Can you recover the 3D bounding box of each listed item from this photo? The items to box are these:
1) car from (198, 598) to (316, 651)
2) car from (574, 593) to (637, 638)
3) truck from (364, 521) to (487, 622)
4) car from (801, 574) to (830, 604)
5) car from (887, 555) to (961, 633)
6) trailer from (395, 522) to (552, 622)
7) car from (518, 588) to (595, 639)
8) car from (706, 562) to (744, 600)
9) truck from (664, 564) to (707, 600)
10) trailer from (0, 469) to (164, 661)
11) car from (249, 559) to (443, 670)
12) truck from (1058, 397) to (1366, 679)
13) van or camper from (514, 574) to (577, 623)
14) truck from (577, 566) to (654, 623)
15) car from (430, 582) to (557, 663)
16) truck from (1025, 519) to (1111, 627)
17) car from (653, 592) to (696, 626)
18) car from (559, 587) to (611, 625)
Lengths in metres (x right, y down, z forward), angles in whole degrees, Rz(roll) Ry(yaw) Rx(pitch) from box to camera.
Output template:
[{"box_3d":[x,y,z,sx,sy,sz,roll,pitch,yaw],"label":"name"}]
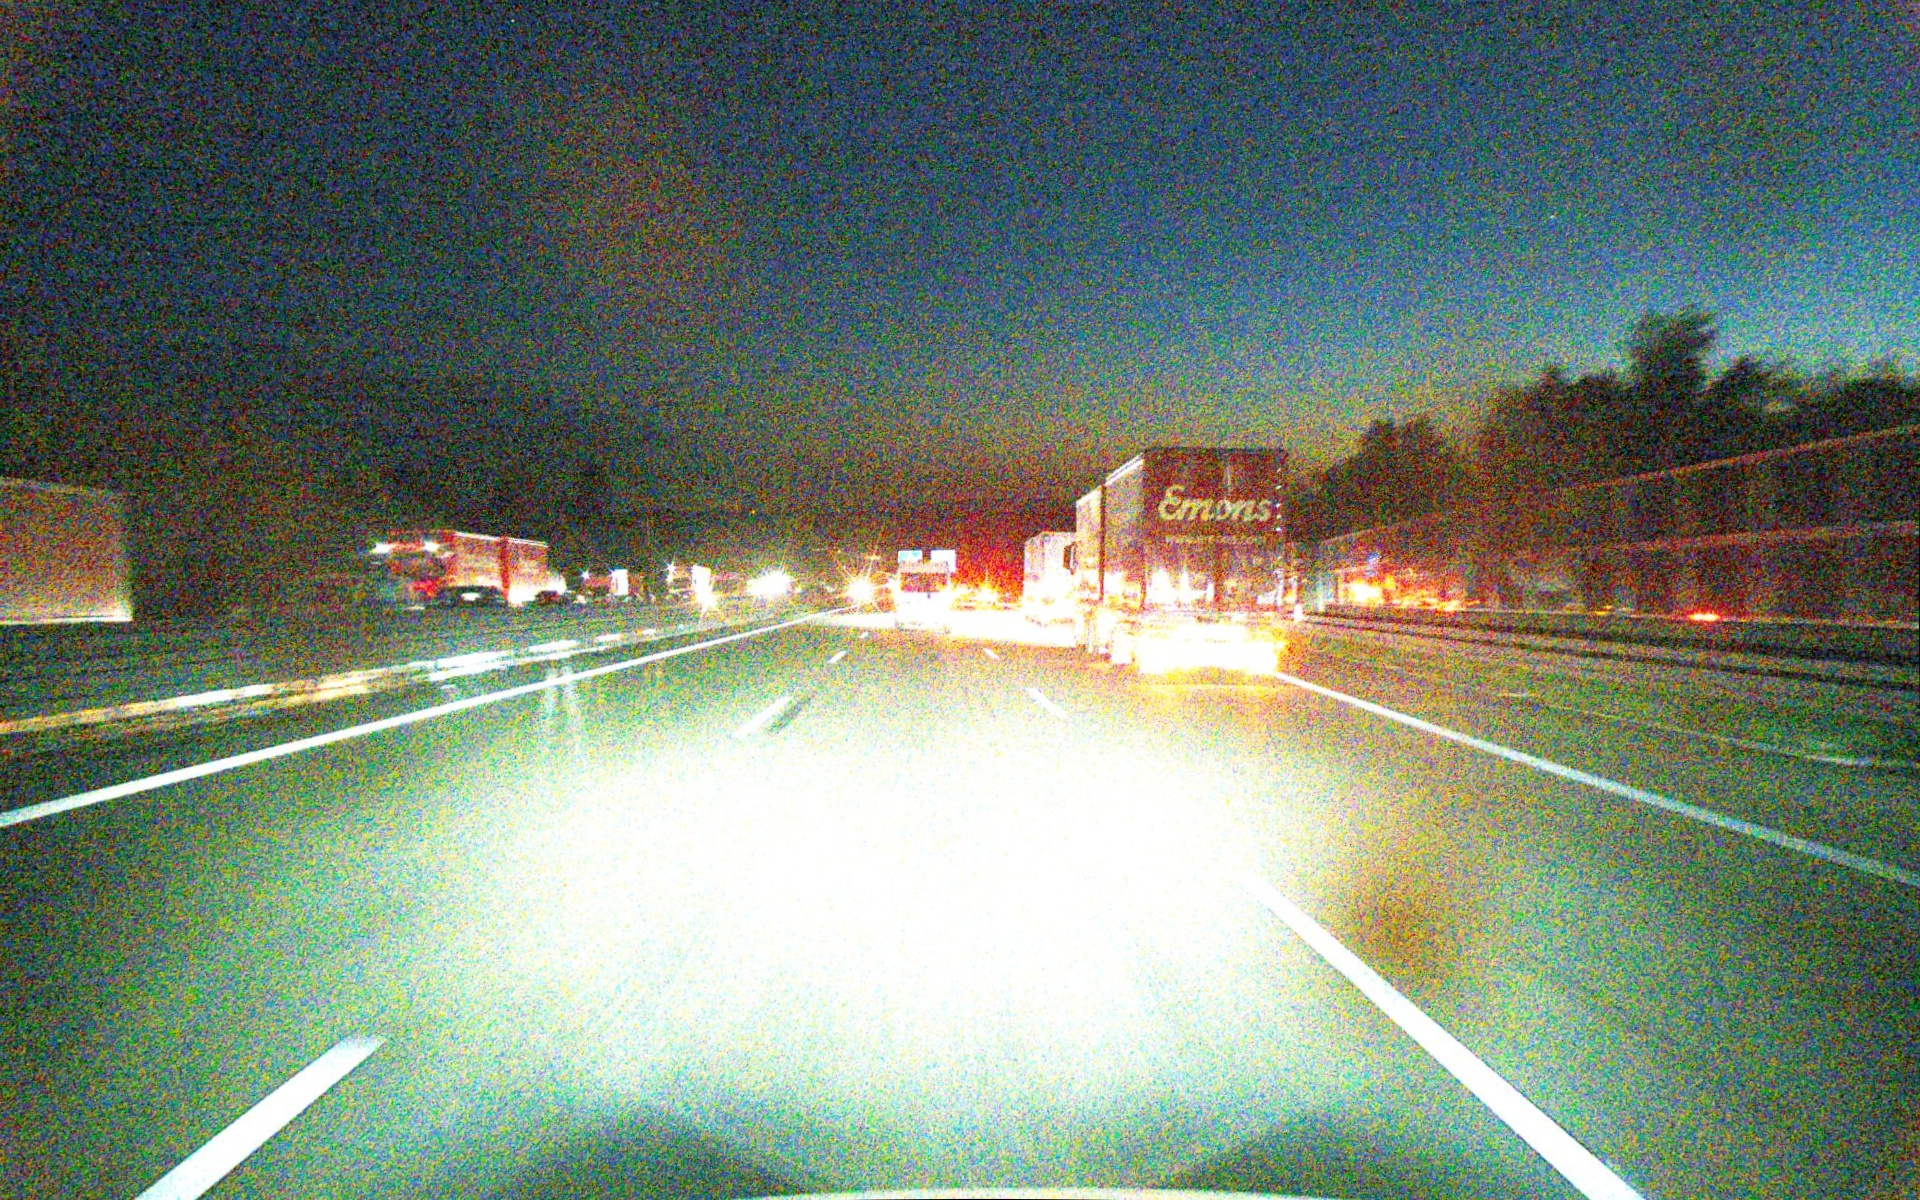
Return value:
[{"box_3d":[-24.343,0.858,57.508,1.953,1.714,5.322,1,-1,-2],"label":"car"},{"box_3d":[-17.187,0.768,80.423,1.953,2.049,5.323,1,-1,-1],"label":"car"},{"box_3d":[-21.252,-1.057,66.120,2.802,3.752,6.600,1,-1,-1],"label":"truck"},{"box_3d":[-10.356,-0.782,118.459,1.955,2.049,3.995,1,-1,-6],"label":"car"},{"box_3d":[-1.252,-0.204,59.666,2.288,2.686,5.249,-1,0,2],"label":"car"},{"box_3d":[-21.426,-1.042,74.072,2.827,3.917,15.063,1,-1,-1],"label":"trailer"},{"box_3d":[-17.159,0.604,70.592,1.953,2.049,5.323,1,-1,-1],"label":"car"},{"box_3d":[-13.551,-1.049,95.561,1.955,2.049,3.995,1,-1,-6],"label":"car"},{"box_3d":[-27.197,-1.769,164.293,3.104,3.278,7.446,1,-1,-1],"label":"truck"},{"box_3d":[-20.109,-0.699,32.424,2.827,3.736,13.043,1,-1,-1],"label":"trailer"},{"box_3d":[-12.428,0.320,33.909,1.953,2.049,5.324,1,-1,0],"label":"car"},{"box_3d":[4.977,-0.958,39.133,3.835,4.708,21.015,-3,-1,0],"label":"truck"},{"box_3d":[-25.375,-0.040,101.658,2.236,2.857,7.577,1,-1,-3],"label":"van or camper"},{"box_3d":[-25.722,-0.303,124.398,2.827,3.917,15.063,1,-1,-1],"label":"truck"},{"box_3d":[-12.694,0.625,45.376,1.953,2.049,5.324,1,-1,0],"label":"car"},{"box_3d":[4.892,-1.201,77.493,3.275,4.554,13.911,1,0,1],"label":"truck"},{"box_3d":[-18.042,0.597,104.792,1.954,2.049,5.321,1,-1,-3],"label":"car"},{"box_3d":[-21.333,0.380,94.283,1.954,2.049,5.321,1,-1,-3],"label":"car"}]
